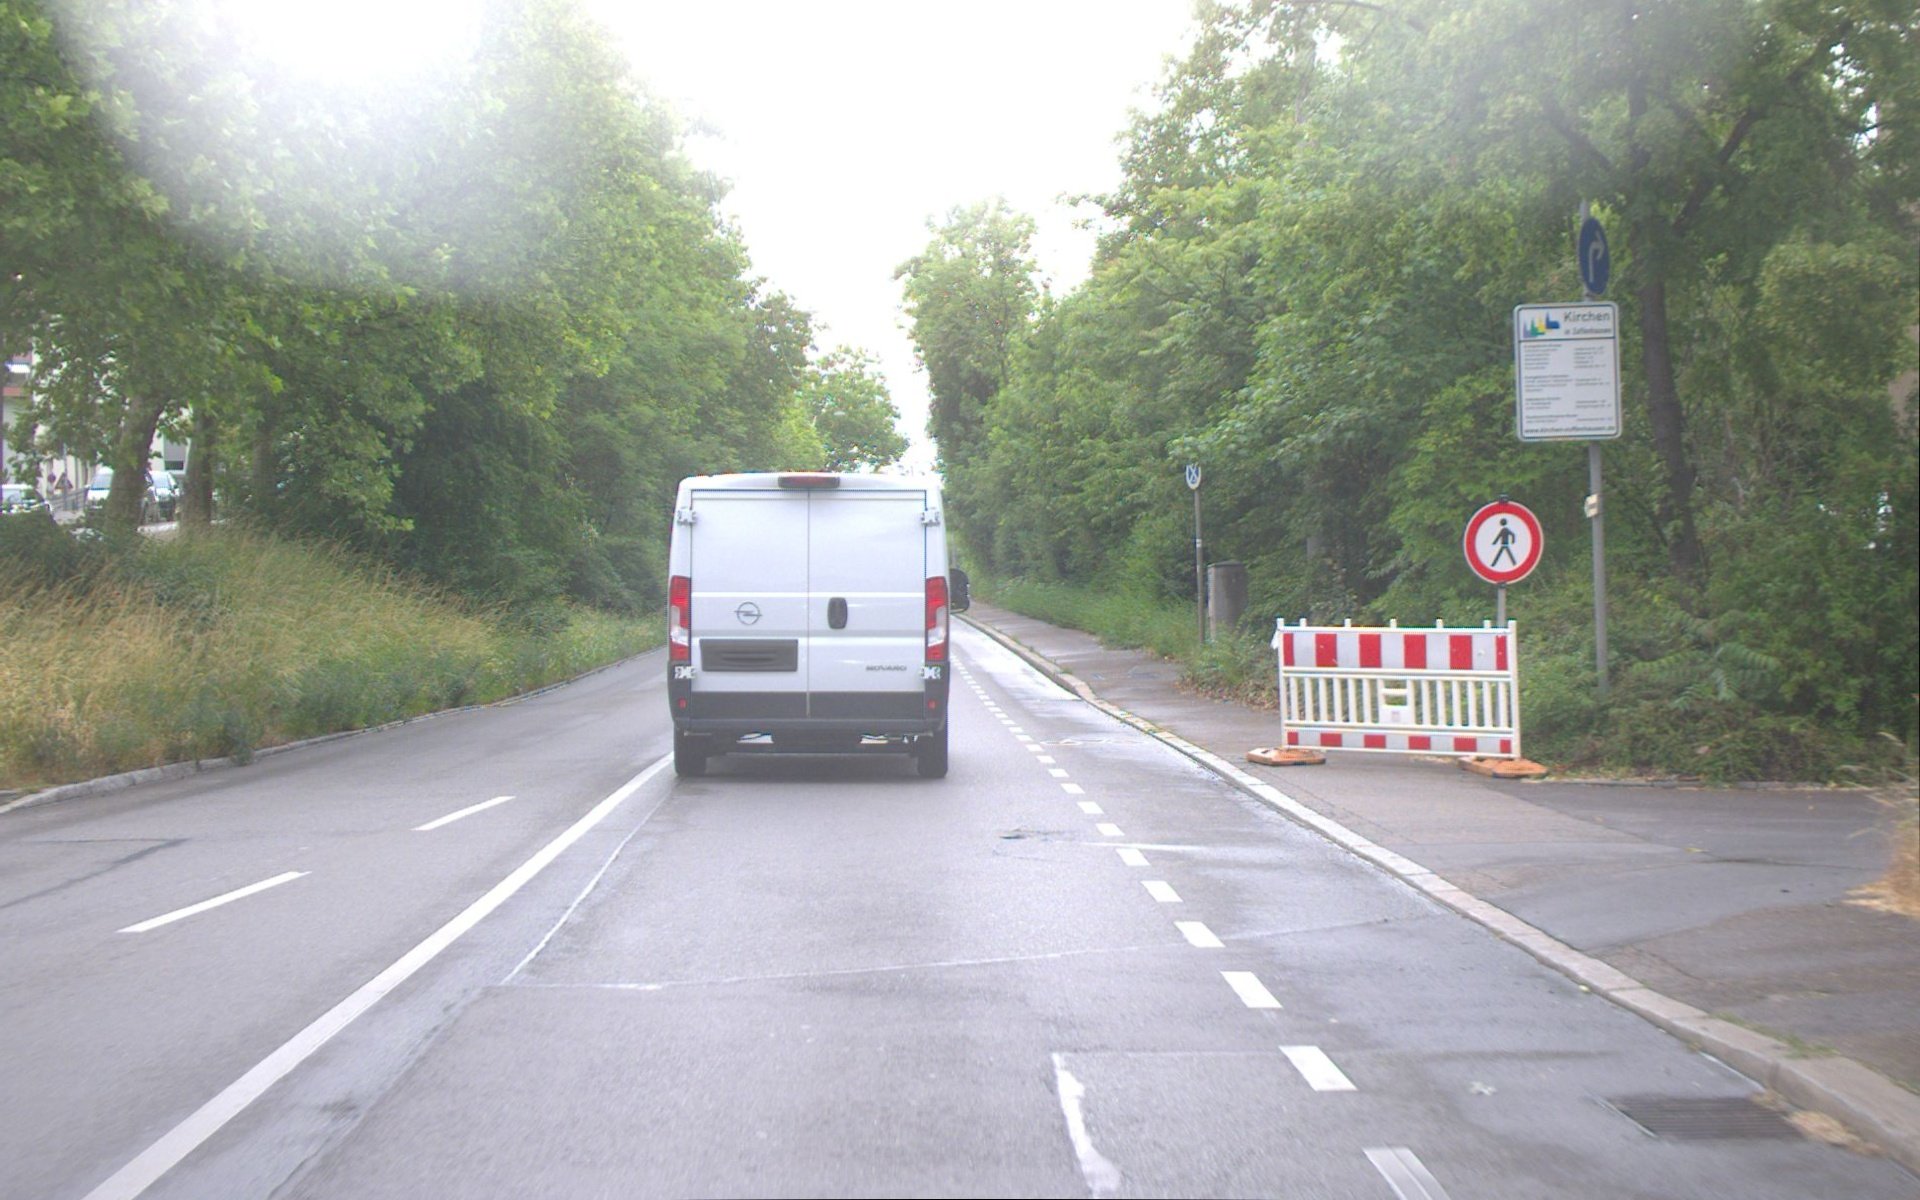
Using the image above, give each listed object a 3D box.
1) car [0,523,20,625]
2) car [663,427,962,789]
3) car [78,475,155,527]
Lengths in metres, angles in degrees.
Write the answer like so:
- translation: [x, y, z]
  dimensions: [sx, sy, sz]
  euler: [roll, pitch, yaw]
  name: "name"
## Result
- translation: [-13.727, -0.360, 46.108]
  dimensions: [1.435, 1.357, 3.175]
  euler: [-2, -1, -2]
  name: "car"
- translation: [-1.085, 0.018, 26.788]
  dimensions: [2.050, 2.508, 4.944]
  euler: [2, 1, -1]
  name: "car"
- translation: [-23.509, -2.740, 95.863]
  dimensions: [1.599, 1.246, 2.911]
  euler: [-2, -1, -4]
  name: "car"
